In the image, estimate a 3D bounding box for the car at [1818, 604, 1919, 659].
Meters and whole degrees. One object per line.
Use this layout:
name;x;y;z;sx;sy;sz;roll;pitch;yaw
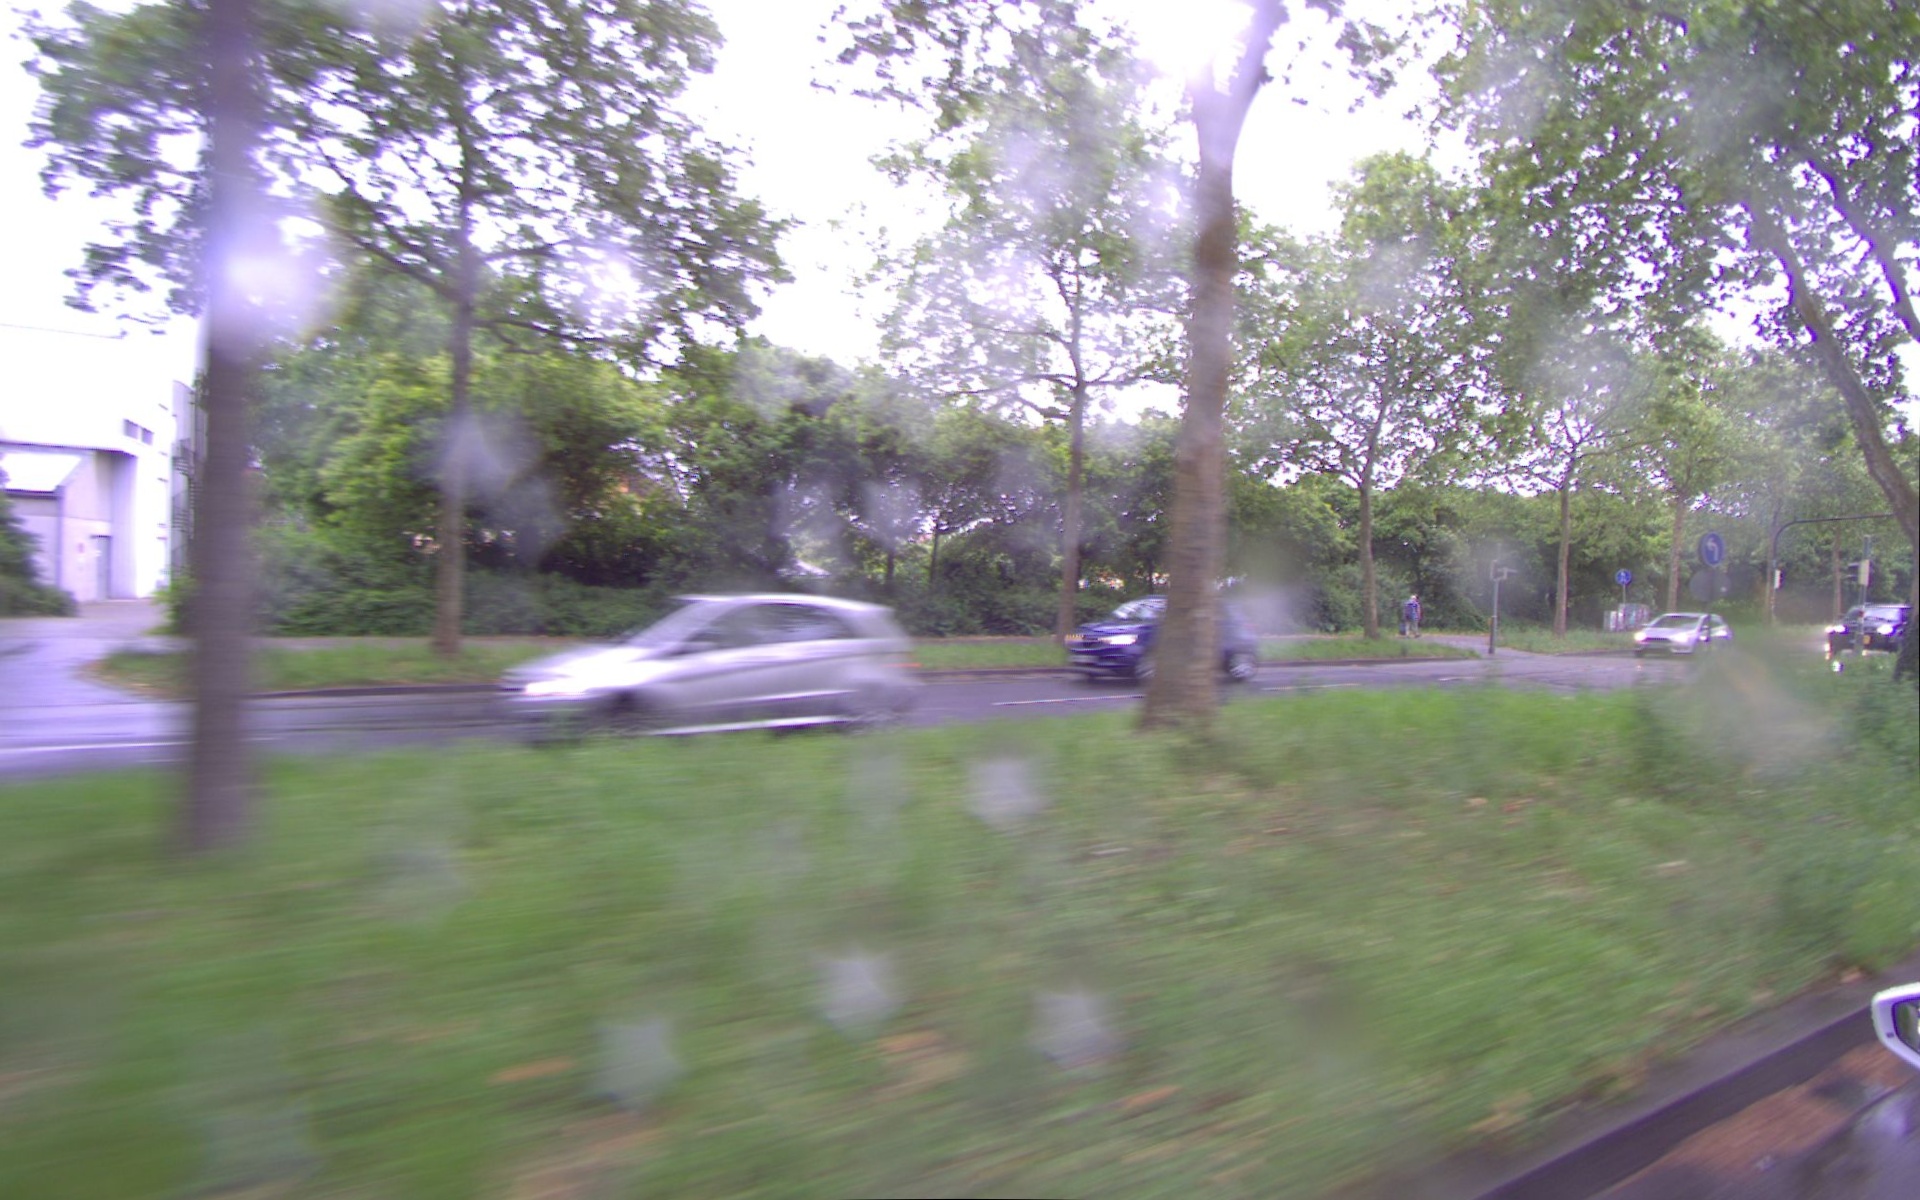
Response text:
car;34.062;1.159;37.601;5.070;1.866;1.731;1;1;-36

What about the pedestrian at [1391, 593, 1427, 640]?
pedestrian;16.658;0.605;37.291;0.891;1.696;0.825;1;1;-35

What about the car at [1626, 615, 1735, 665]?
car;24.387;1.323;33.965;4.194;1.496;1.731;1;1;-36

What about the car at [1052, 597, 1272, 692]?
car;3.957;0.823;19.460;4.166;1.612;1.732;1;1;-34

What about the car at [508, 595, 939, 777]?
car;-2.514;0.820;11.079;4.285;1.612;1.732;1;1;-34

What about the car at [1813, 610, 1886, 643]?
car;43.613;1.298;49.236;4.192;1.496;1.732;1;1;-35
